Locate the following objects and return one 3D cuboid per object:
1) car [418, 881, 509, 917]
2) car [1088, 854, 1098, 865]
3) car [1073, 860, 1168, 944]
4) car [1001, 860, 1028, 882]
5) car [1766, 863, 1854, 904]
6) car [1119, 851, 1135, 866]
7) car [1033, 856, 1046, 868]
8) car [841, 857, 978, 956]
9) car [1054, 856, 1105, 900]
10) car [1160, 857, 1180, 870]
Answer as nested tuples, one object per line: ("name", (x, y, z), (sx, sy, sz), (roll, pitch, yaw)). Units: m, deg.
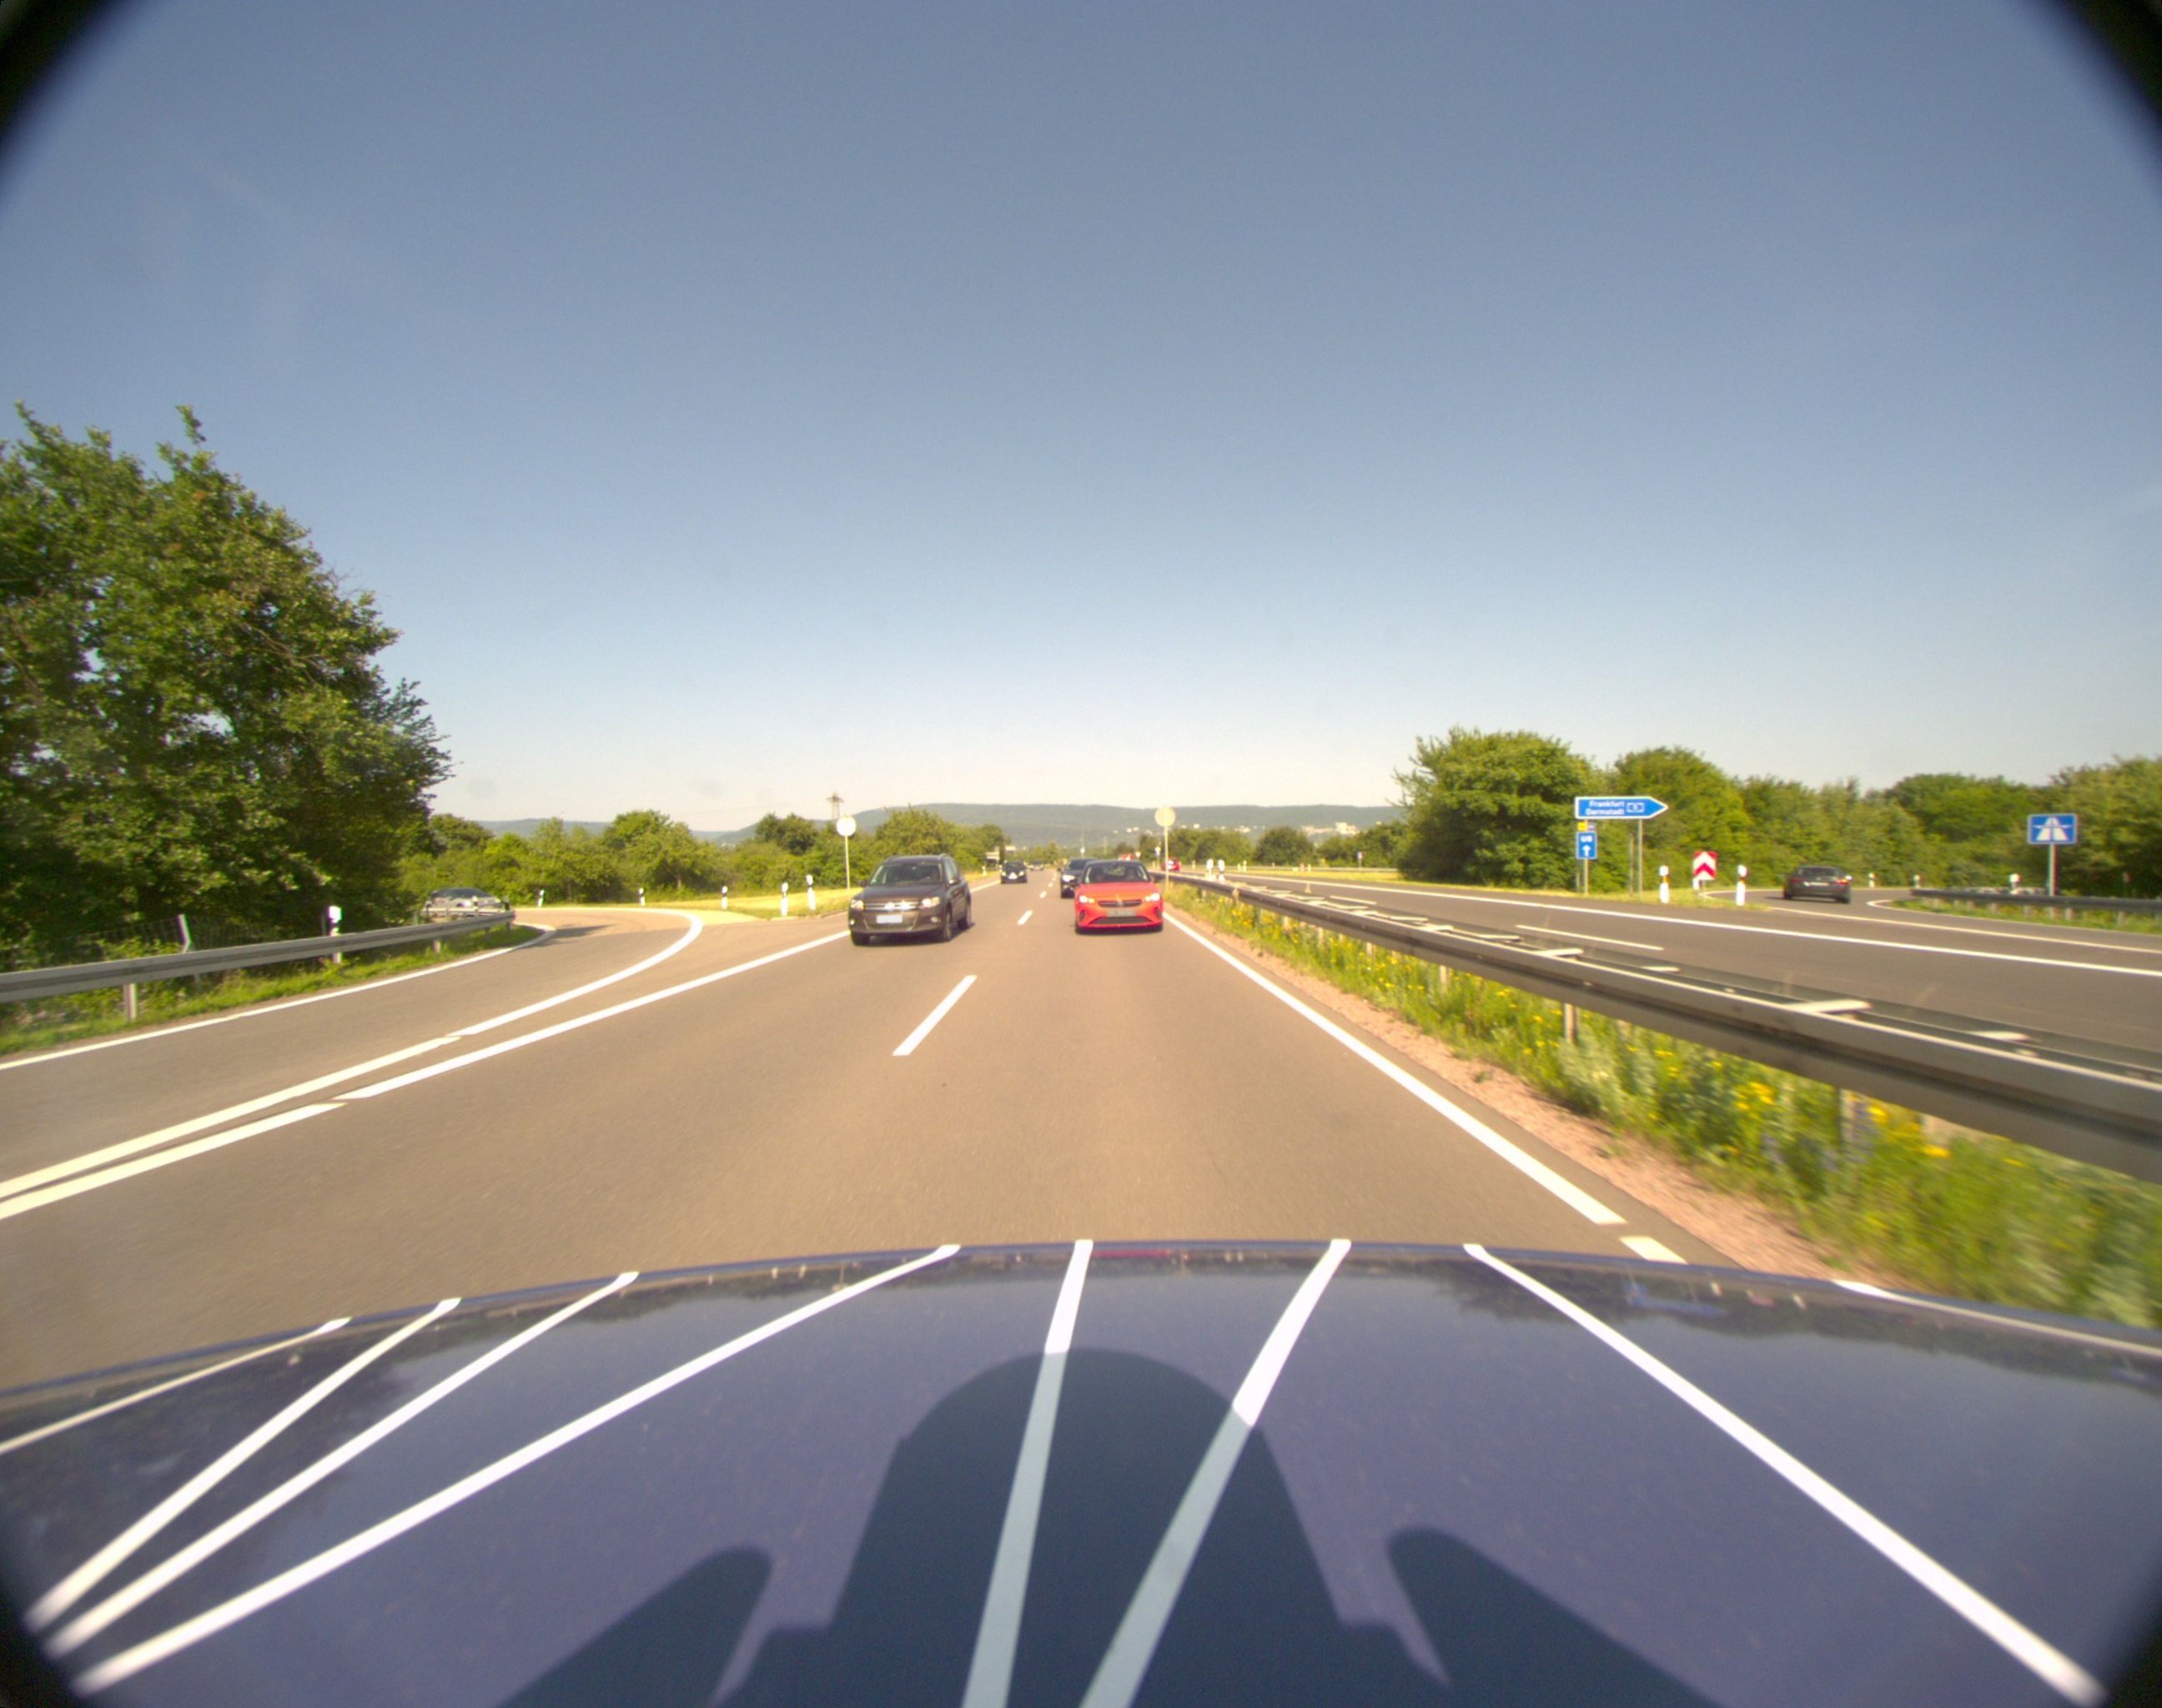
("car", (-33.081, 2.387, 40.738), (3.991, 1.657, 1.867), (0, 4, 19))
("car", (2.491, 1.143, 158.913), (1.999, 2.002, 4.517), (-2, 1, -2))
("car", (0.785, 0.899, 16.263), (1.713, 1.429, 4.412), (-2, 1, 2))
("car", (-4.288, 1.091, 49.281), (1.601, 1.241, 3.998), (-2, 1, -3))
("car", (30.148, 1.178, 31.570), (1.592, 1.485, 4.825), (4, 1, 32))
("car", (7.905, 0.679, 129.871), (2.120, 2.361, 5.880), (-2, 1, -1))
("car", (-6.149, 1.203, 112.138), (1.768, 1.652, 3.999), (-2, 1, -2))
("car", (-3.315, 0.942, 15.503), (1.790, 1.637, 4.147), (-2, 1, 0))
("car", (-0.015, 0.859, 29.144), (1.788, 1.524, 4.375), (-2, 0, 1))
("car", (9.838, 1.043, 84.128), (1.633, 1.449, 3.768), (-1, -1, -1))
